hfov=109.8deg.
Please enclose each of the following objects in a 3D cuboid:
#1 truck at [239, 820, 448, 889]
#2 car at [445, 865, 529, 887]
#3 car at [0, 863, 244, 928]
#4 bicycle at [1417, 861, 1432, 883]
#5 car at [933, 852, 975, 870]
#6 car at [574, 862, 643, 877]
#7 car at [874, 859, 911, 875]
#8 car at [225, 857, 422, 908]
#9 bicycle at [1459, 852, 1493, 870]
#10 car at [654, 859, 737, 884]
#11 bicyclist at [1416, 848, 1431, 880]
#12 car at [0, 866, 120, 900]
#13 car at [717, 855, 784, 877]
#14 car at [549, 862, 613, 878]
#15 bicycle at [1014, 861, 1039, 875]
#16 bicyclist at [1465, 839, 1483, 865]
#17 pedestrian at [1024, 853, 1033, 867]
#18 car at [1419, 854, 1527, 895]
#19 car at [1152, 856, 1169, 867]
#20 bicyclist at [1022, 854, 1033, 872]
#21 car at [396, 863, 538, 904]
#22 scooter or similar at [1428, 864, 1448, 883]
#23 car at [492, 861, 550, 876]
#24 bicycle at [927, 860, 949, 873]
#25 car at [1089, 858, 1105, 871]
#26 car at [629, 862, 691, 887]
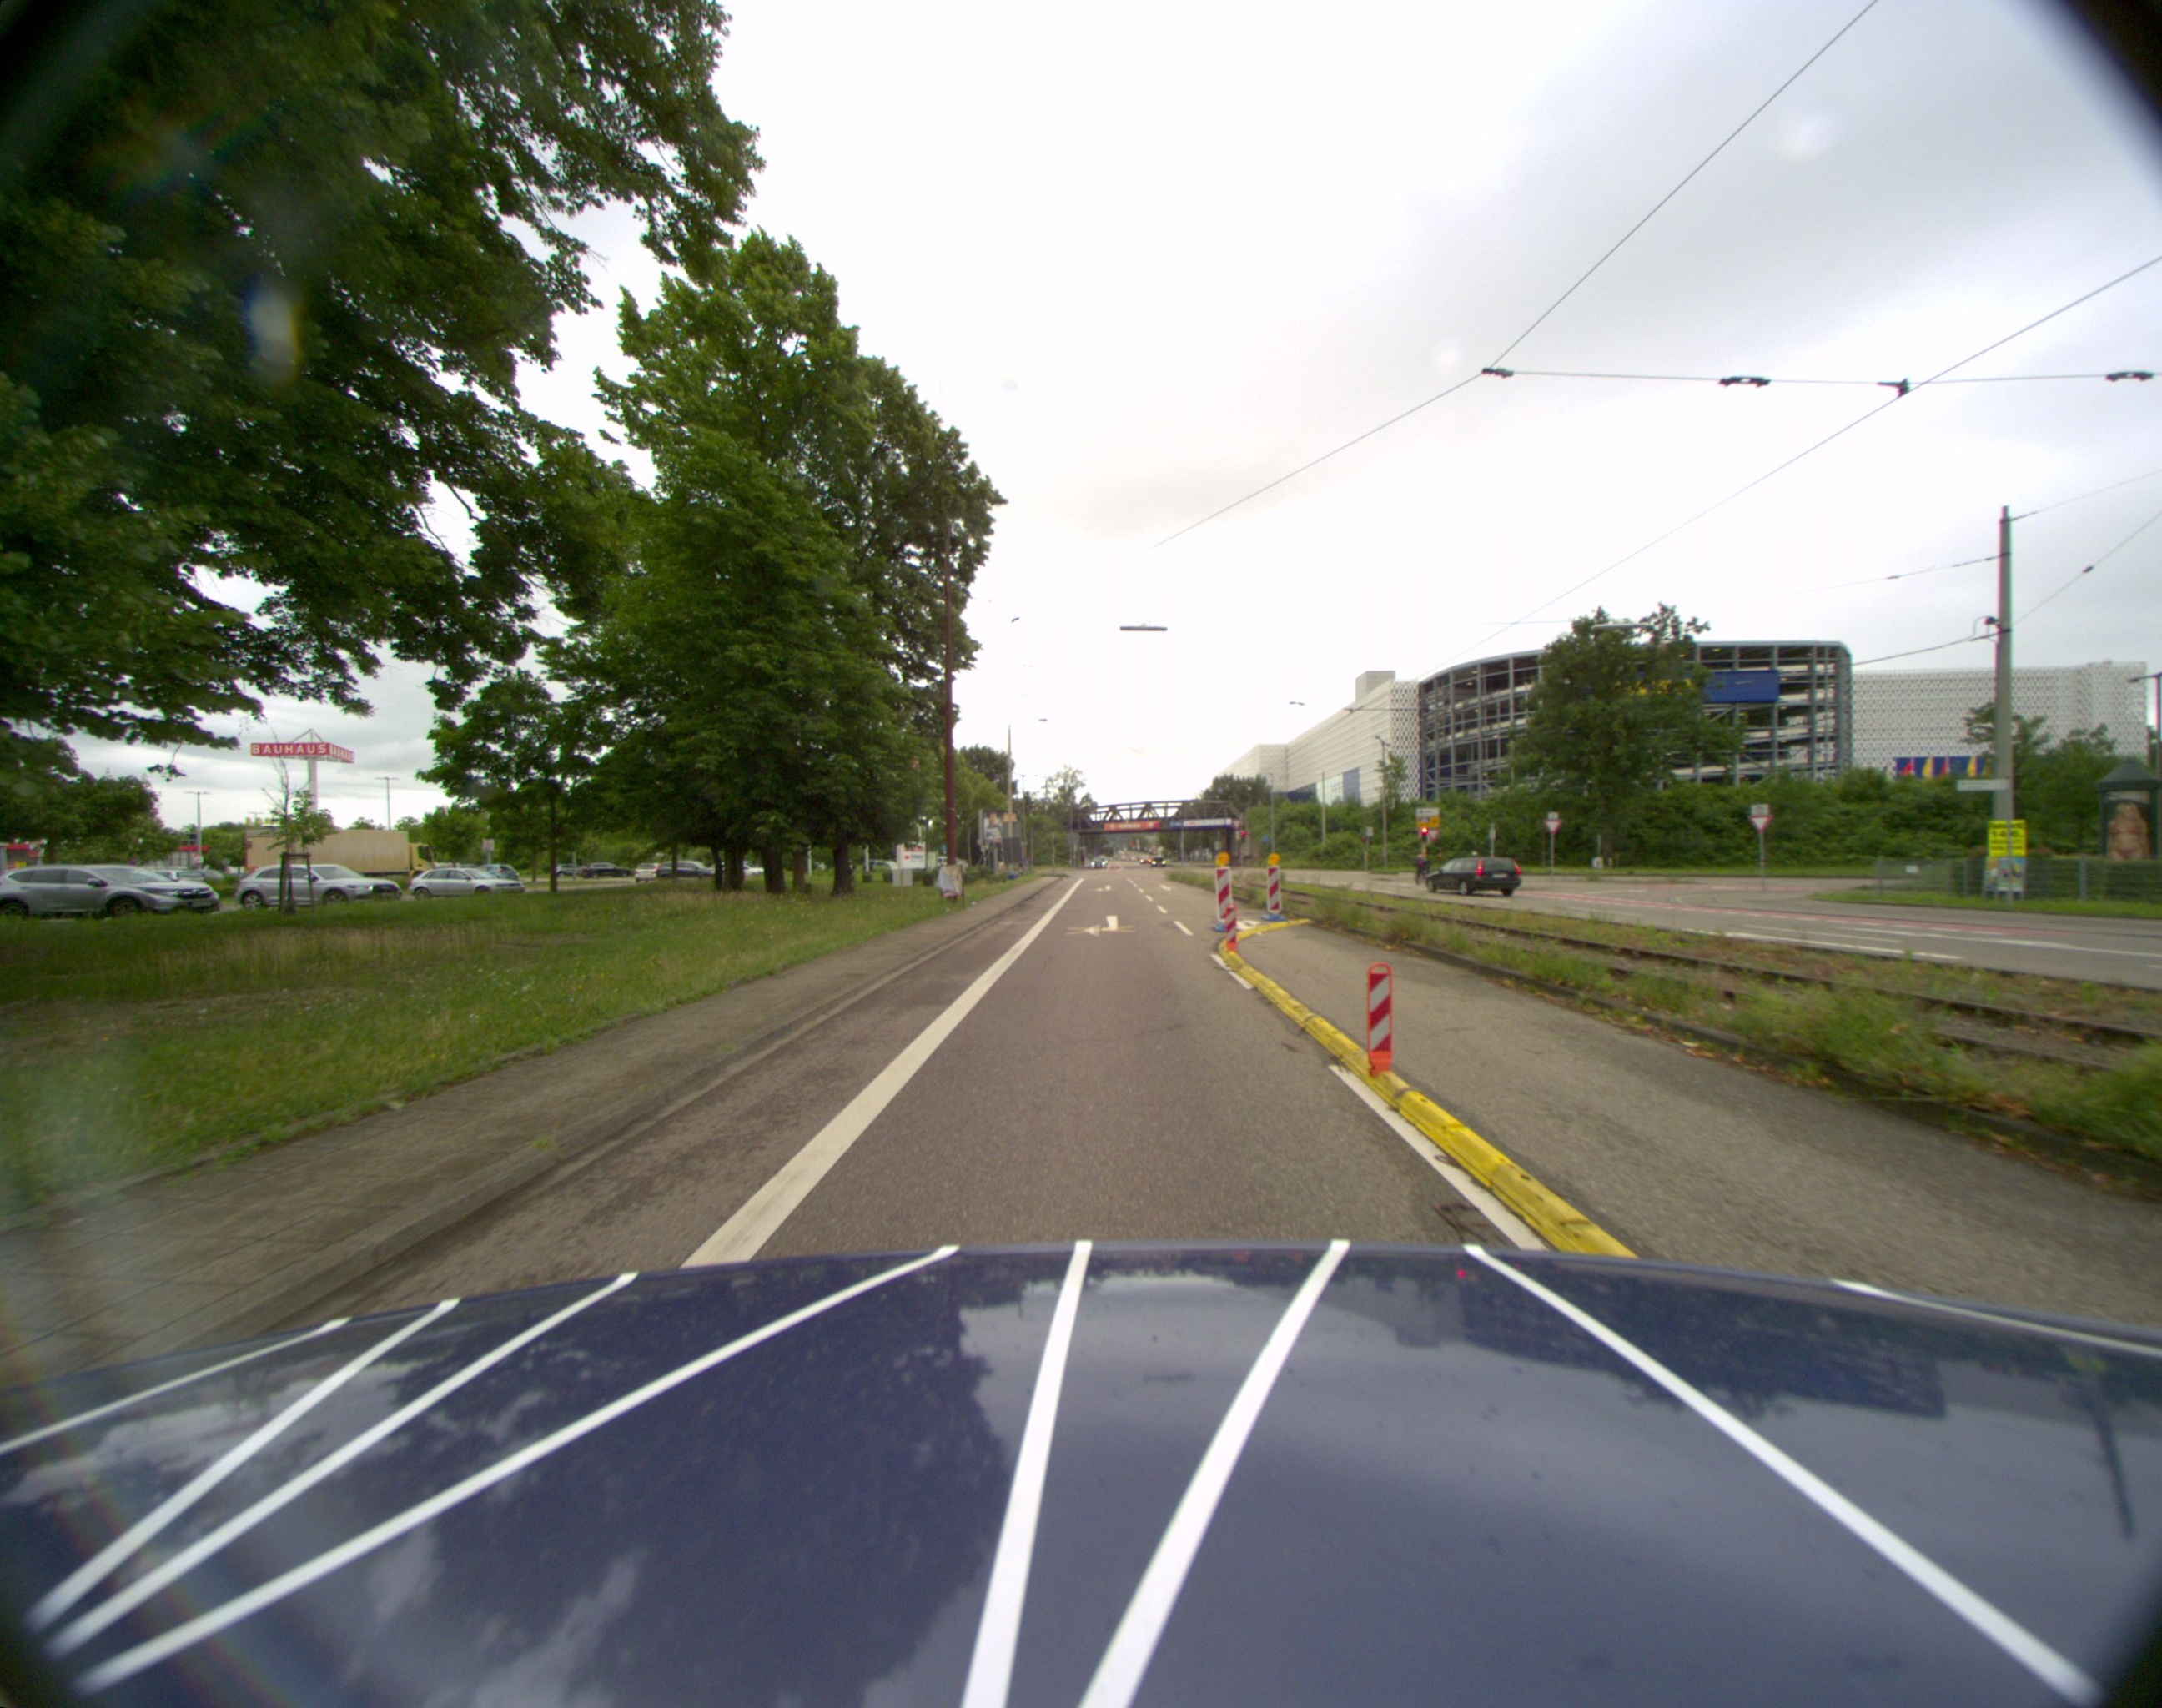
[{"bbox_3d":[-42.957,-0.043,44.906,2.946,3.543,9.249,-3,1,2],"label":"truck"},{"bbox_3d":[-43.239,1.579,55.362,4.563,1.498,1.988,0,1,3],"label":"car"},{"bbox_3d":[-26.411,1.102,20.837,4.543,1.488,1.959,-3,1,-2],"label":"car"},{"bbox_3d":[18.052,0.947,39.938,0.646,1.056,2.027,-2,0,25],"label":"bicycle"},{"bbox_3d":[-13.705,0.729,82.074,4.409,1.818,1.884,-1,2,35],"label":"car"},{"bbox_3d":[-49.688,1.575,80.029,2.149,1.432,5.737,0,0,33],"label":"car"},{"bbox_3d":[-20.629,1.438,83.225,3.989,1.524,1.788,-2,1,38],"label":"car"},{"bbox_3d":[-26.533,0.970,26.751,4.686,1.488,2.170,-3,1,0],"label":"car"},{"bbox_3d":[23.981,0.423,46.203,0.647,1.056,1.999,-3,0,-13],"label":"bicycle"},{"bbox_3d":[-26.289,1.174,51.970,4.611,1.488,1.930,-3,1,-2],"label":"car"},{"bbox_3d":[18.021,0.511,39.922,0.646,1.673,0.687,-2,0,25],"label":"bicyclist"},{"bbox_3d":[-54.386,1.503,39.815,4.570,1.667,2.152,-1,1,-15],"label":"car"},{"bbox_3d":[-25.238,0.891,58.133,4.232,1.488,1.931,-3,1,-2],"label":"car"},{"bbox_3d":[-57.437,1.774,87.424,2.149,1.667,5.737,0,0,33],"label":"car"},{"bbox_3d":[-4.388,1.138,61.423,1.890,1.142,0.583,0,1,19],"label":"bicycle"},{"bbox_3d":[23.940,-0.109,46.259,0.647,1.509,0.626,-3,0,-13],"label":"bicyclist"},{"bbox_3d":[-6.494,0.713,93.170,0.776,1.630,0.745,-1,1,37],"label":"pedestrian"},{"bbox_3d":[15.110,0.734,29.555,1.824,1.464,4.425,-1,0,-2],"label":"car"},{"bbox_3d":[10.633,0.972,101.812,1.836,1.415,4.001,-2,0,2],"label":"car"},{"bbox_3d":[-4.308,0.720,61.375,0.758,1.511,0.583,0,1,19],"label":"bicyclist"},{"bbox_3d":[-26.631,1.256,33.070,4.456,1.488,1.930,-3,1,-2],"label":"car"},{"bbox_3d":[17.842,0.977,37.983,0.844,0.902,1.200,-3,0,25],"label":"scooter or similar"},{"bbox_3d":[-73.140,1.880,99.251,2.149,1.883,5.738,0,1,42],"label":"car"},{"bbox_3d":[-12.144,1.051,64.678,1.810,1.111,0.487,-1,1,-36],"label":"bicycle"},{"bbox_3d":[2.206,1.445,103.311,1.788,1.637,3.998,-1,0,-4],"label":"car"},{"bbox_3d":[-32.661,1.548,59.082,1.998,1.661,4.506,-3,1,4],"label":"car"}]
